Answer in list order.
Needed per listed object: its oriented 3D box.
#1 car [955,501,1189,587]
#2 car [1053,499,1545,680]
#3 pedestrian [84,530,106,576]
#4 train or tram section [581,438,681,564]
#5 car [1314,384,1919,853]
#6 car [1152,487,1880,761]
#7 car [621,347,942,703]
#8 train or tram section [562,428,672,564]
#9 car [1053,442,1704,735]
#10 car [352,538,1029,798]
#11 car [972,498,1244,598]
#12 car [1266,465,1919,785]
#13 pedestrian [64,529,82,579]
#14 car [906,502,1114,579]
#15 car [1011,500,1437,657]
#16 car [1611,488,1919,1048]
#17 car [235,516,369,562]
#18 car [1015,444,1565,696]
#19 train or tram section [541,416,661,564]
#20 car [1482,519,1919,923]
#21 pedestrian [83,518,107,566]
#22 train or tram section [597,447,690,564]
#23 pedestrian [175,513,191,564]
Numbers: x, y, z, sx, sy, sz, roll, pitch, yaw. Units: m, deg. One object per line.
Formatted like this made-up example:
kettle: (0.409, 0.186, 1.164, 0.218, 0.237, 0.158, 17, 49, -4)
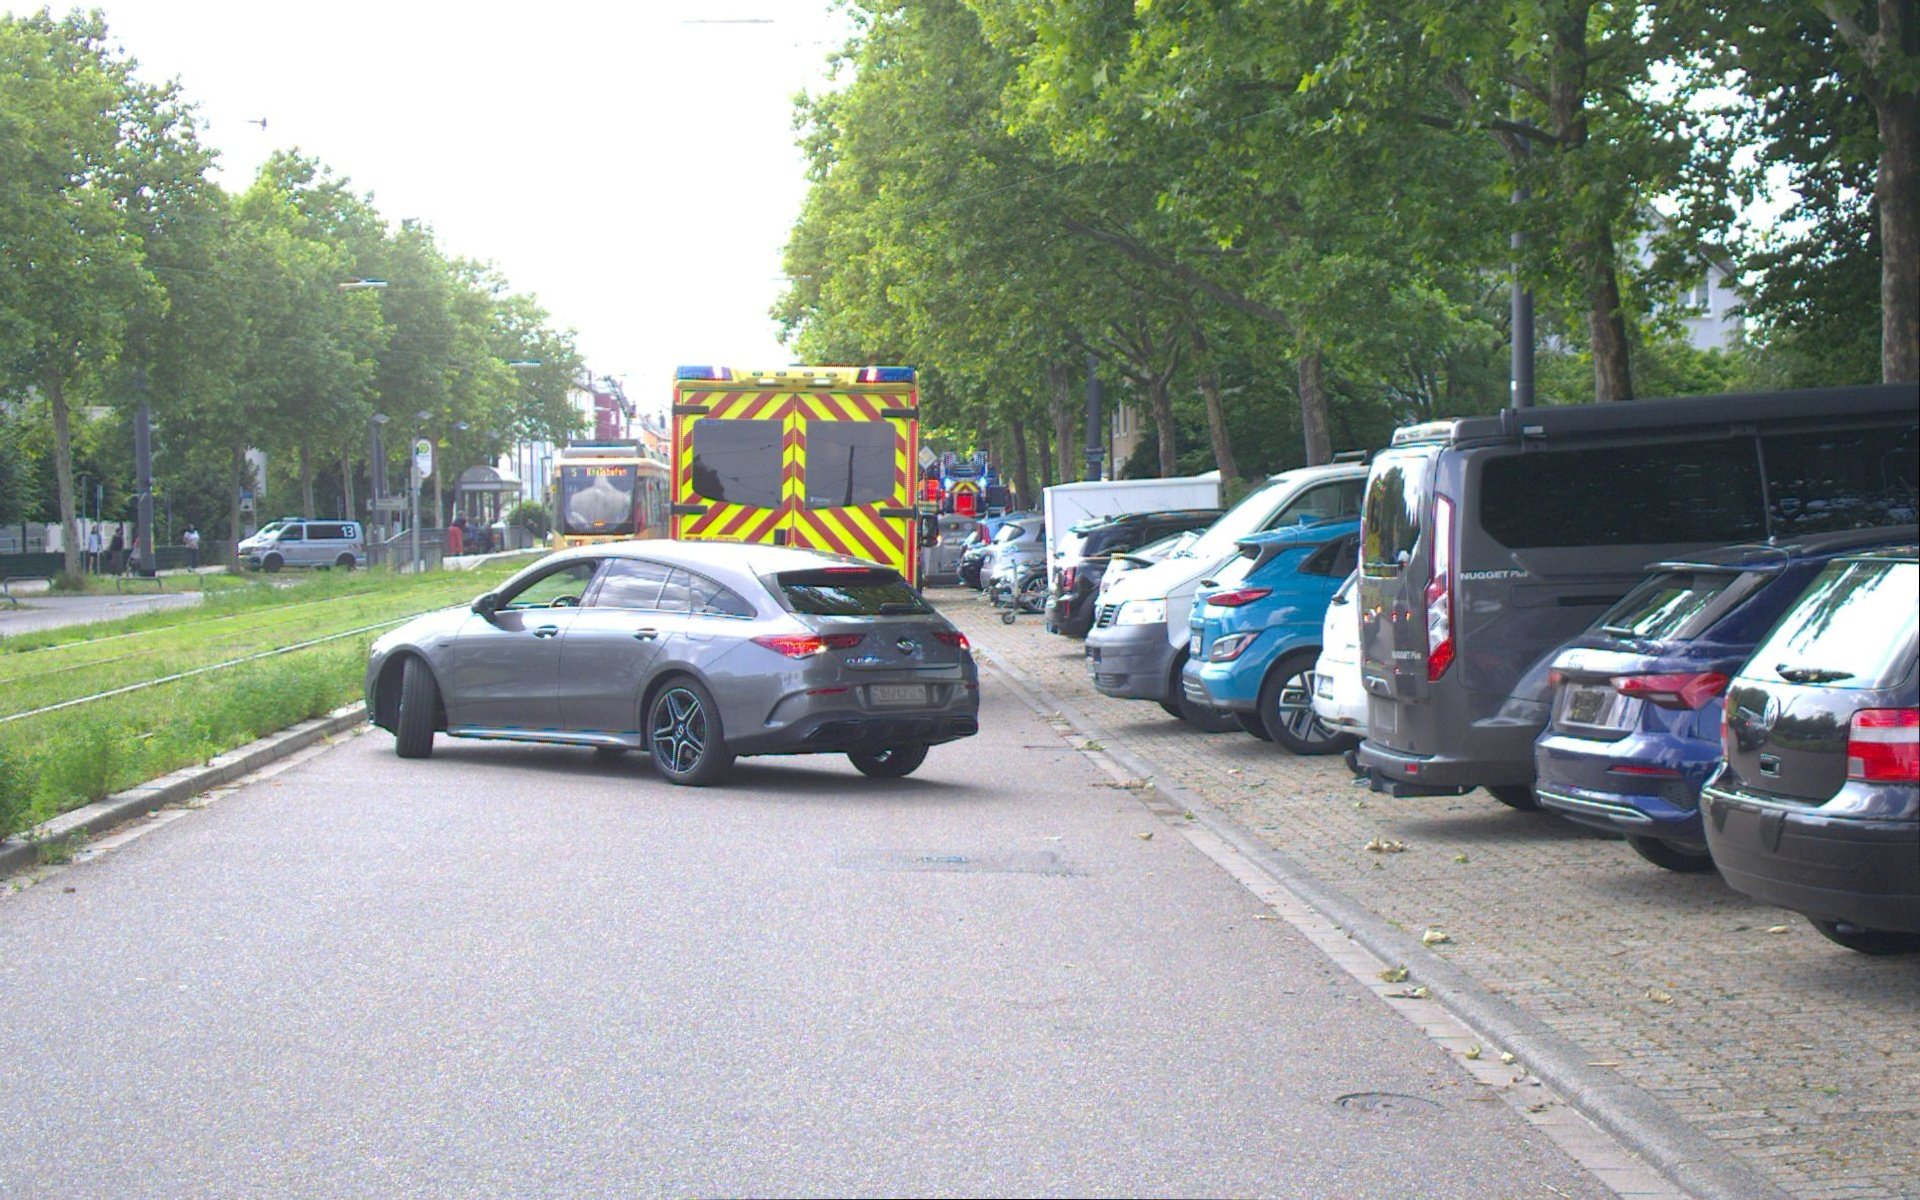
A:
car: (2.280, -1.152, 70.674, 4.545, 1.603, 1.856, -2, 1, -6)
car: (3.319, -0.125, 34.129, 4.545, 1.603, 1.856, -2, 1, -6)
pedestrian: (-26.287, -1.427, 104.533, 0.422, 1.409, 0.467, 0, 1, 23)
train or tram section: (-9.863, -2.919, 103.671, 2.511, 3.572, 7.446, -2, 1, -2)
car: (4.185, 0.034, 17.074, 4.545, 2.116, 1.856, -2, 1, -2)
car: (3.734, 0.128, 23.535, 4.545, 1.654, 1.856, -2, 1, -6)
car: (-1.560, -0.700, 32.532, 2.641, 2.956, 6.300, 2, 1, -1)
train or tram section: (-9.542, -2.844, 96.231, 2.511, 3.572, 7.446, -2, 1, -2)
car: (3.108, -0.115, 26.051, 4.545, 1.994, 1.856, -2, 1, -6)
car: (-1.778, 0.349, 21.437, 1.762, 1.381, 4.465, 0, 2, -44)
car: (2.594, -0.927, 60.829, 4.545, 1.603, 1.856, -2, 1, -6)
car: (4.279, 0.107, 21.015, 4.545, 1.760, 1.856, -2, 1, -2)
pedestrian: (-26.490, -1.370, 102.650, 0.421, 1.468, 0.467, -1, 1, -7)
car: (1.117, -1.380, 78.878, 4.545, 1.603, 1.856, -2, 1, -6)
car: (2.974, -0.267, 39.278, 4.545, 1.603, 1.856, -2, 1, -6)
car: (4.335, 0.402, 11.131, 3.964, 1.600, 1.757, -2, 1, -12)
car: (-24.672, -2.295, 129.006, 4.615, 1.627, 1.882, -2, 2, -41)
car: (2.885, -0.283, 30.639, 4.545, 2.036, 1.856, -2, 1, -6)
train or tram section: (-9.212, -2.768, 88.805, 2.511, 3.572, 7.446, -2, 1, -2)
car: (4.281, 0.406, 13.986, 3.965, 1.489, 1.756, -2, 1, -2)
pedestrian: (-28.214, -1.903, 112.093, 0.632, 1.545, 0.622, -1, 1, -5)
train or tram section: (-10.177, -2.994, 111.108, 2.511, 3.572, 7.446, -2, 1, -2)
pedestrian: (-28.052, -2.217, 124.190, 0.466, 1.822, 0.423, -1, 1, -4)
